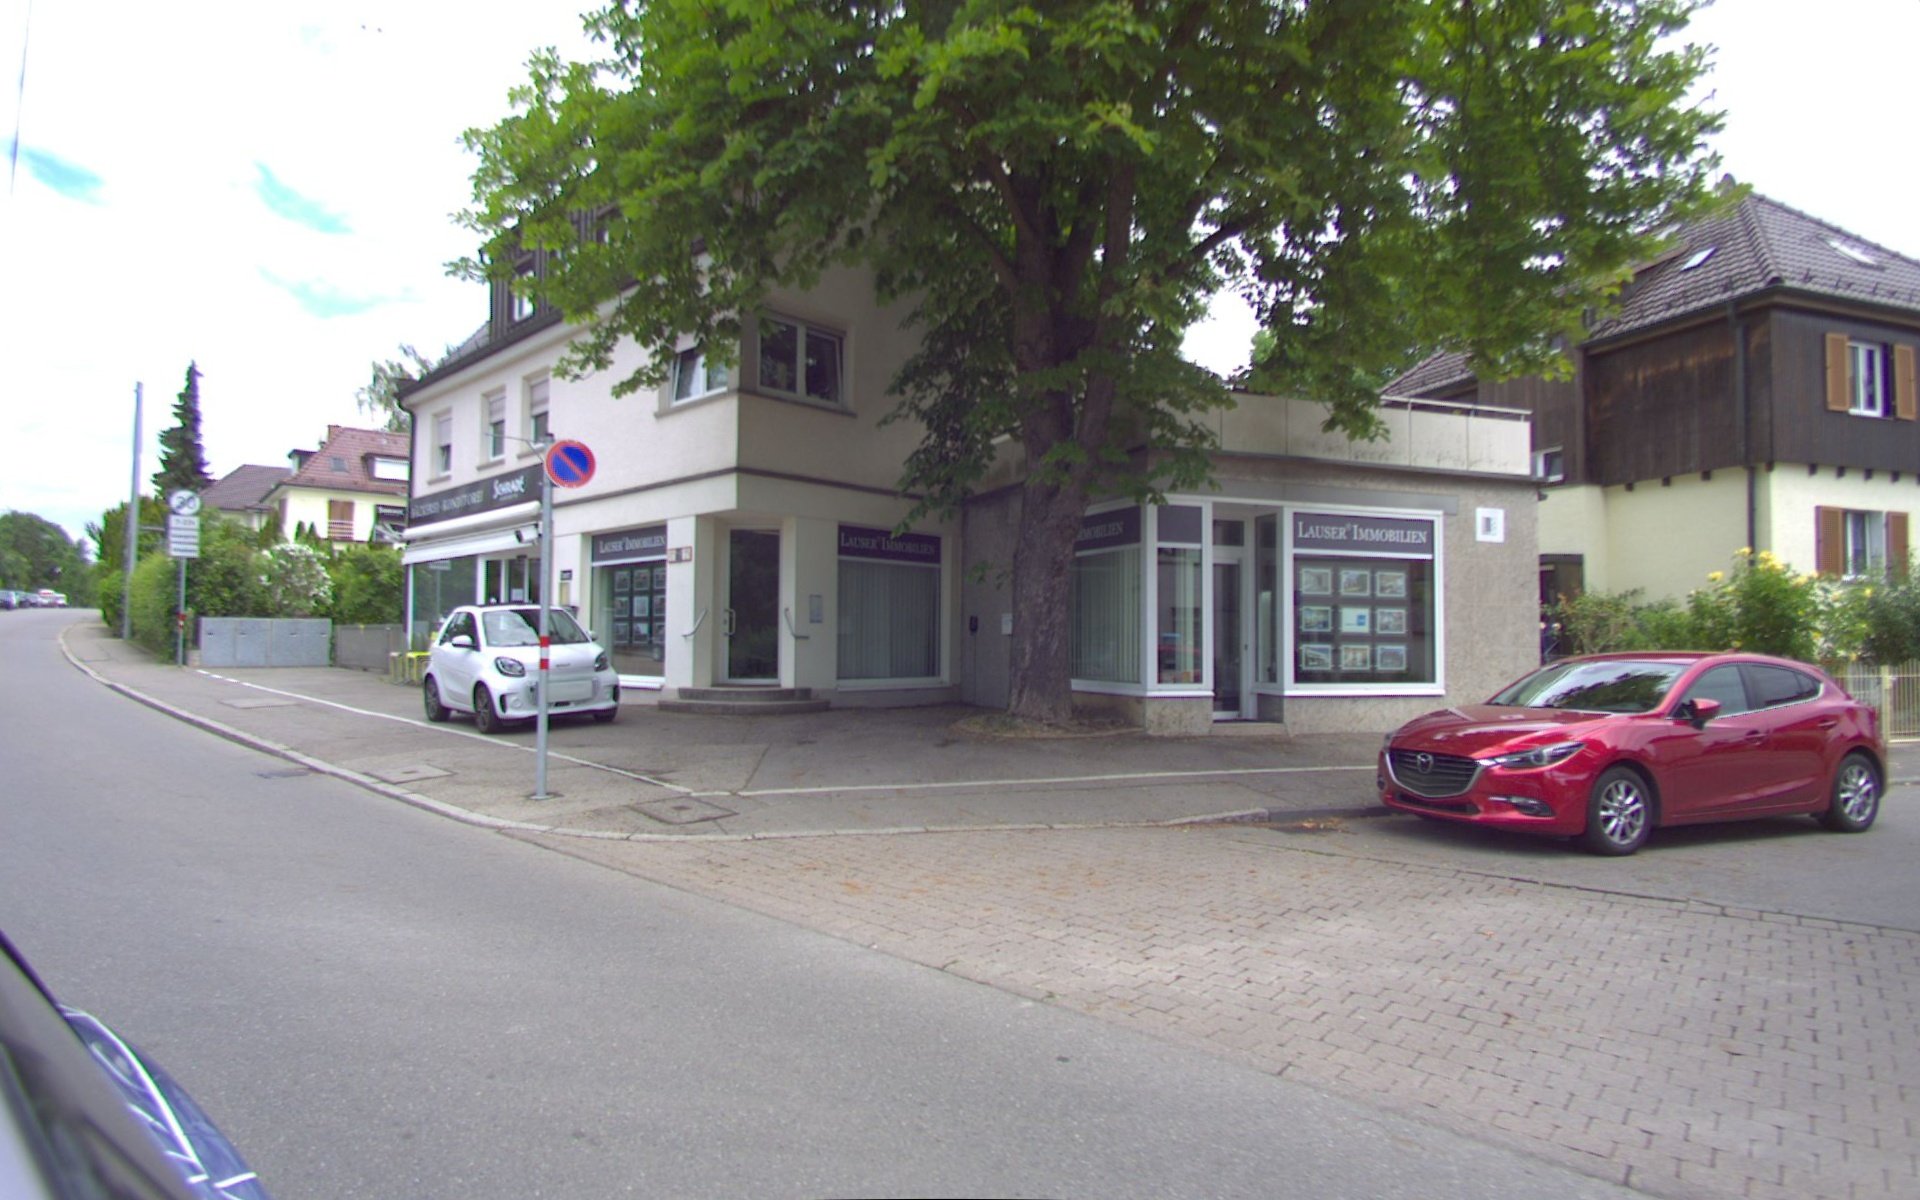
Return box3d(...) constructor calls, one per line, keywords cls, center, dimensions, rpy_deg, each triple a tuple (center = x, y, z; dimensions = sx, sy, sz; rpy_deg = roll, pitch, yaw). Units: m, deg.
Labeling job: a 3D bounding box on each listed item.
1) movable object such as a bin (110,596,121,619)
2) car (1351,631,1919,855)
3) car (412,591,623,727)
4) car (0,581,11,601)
box3d(cls="movable object such as a bin", center=(-34.238, 0.308, 41.039), dimensions=(0.332, 0.900, 0.477), rpy_deg=(0, 0, -39))
box3d(cls="car", center=(5.483, 1.019, 8.128), dimensions=(4.160, 1.443, 1.822), rpy_deg=(1, -4, -20))
box3d(cls="car", center=(-5.834, 0.669, 13.231), dimensions=(1.570, 1.550, 2.925), rpy_deg=(-1, 1, -45))
box3d(cls="car", center=(-78.670, -0.749, 82.302), dimensions=(1.926, 1.639, 4.383), rpy_deg=(0, 1, -41))
